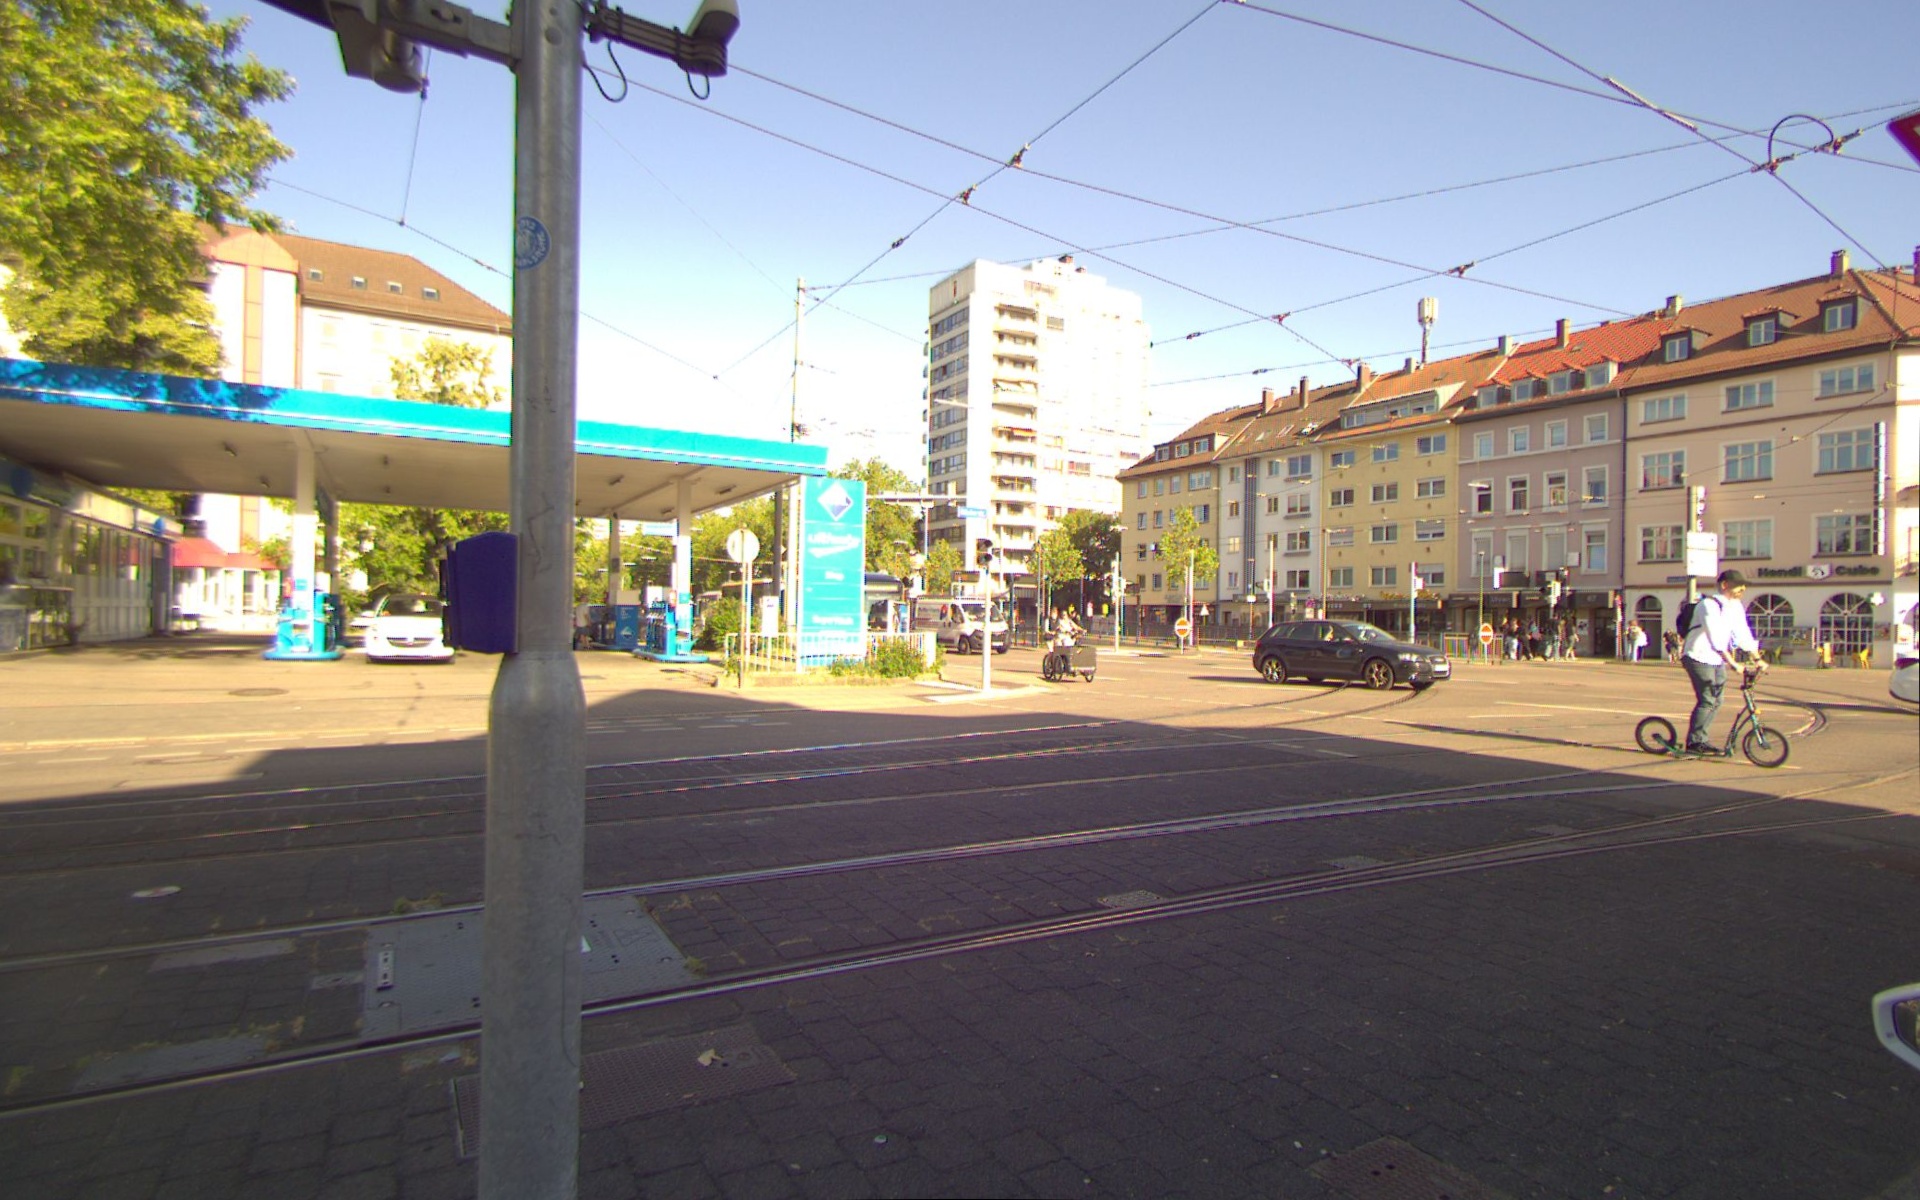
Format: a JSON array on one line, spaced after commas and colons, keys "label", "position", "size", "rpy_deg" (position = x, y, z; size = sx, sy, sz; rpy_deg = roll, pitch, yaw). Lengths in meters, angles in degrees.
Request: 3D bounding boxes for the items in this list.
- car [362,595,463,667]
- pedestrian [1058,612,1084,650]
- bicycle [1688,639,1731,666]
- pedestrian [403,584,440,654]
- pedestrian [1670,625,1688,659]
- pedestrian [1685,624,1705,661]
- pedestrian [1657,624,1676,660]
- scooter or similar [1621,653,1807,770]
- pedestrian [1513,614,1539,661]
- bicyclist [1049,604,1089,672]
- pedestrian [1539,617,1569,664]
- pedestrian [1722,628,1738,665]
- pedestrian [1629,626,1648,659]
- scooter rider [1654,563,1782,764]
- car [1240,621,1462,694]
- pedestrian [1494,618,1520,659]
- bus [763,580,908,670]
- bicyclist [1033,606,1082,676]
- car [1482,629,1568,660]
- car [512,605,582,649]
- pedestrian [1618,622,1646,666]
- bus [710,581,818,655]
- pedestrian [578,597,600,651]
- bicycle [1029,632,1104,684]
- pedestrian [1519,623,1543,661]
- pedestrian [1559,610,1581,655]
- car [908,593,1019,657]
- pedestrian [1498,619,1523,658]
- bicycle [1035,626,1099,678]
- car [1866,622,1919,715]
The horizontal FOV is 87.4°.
[{"label": "car", "position": [-12.355, 0.671, 22.558], "size": [1.793, 1.461, 3.966], "rpy_deg": [1, -1, -31]}, {"label": "pedestrian", "position": [4.817, 1.350, 43.652], "size": [0.788, 1.632, 0.766], "rpy_deg": [1, -1, -36]}, {"label": "bicycle", "position": [37.645, 2.633, 50.473], "size": [1.693, 1.293, 0.385], "rpy_deg": [0, -1, 44]}, {"label": "pedestrian", "position": [-13.338, 0.474, 24.899], "size": [0.751, 1.715, 0.583], "rpy_deg": [1, -1, -28]}, {"label": "pedestrian", "position": [36.263, 2.108, 50.677], "size": [0.731, 1.704, 0.626], "rpy_deg": [0, -1, 35]}, {"label": "pedestrian", "position": [34.361, 1.977, 46.995], "size": [0.731, 1.704, 0.626], "rpy_deg": [0, -1, 35]}, {"label": "pedestrian", "position": [33.905, 2.026, 48.178], "size": [0.731, 1.704, 0.626], "rpy_deg": [0, -1, 35]}, {"label": "scooter or similar", "position": [7.677, 1.097, 10.285], "size": [0.558, 1.057, 1.424], "rpy_deg": [1, -1, -30]}, {"label": "pedestrian", "position": [22.699, 1.488, 40.292], "size": [0.769, 1.874, 0.625], "rpy_deg": [1, -1, -30]}, {"label": "bicyclist", "position": [2.847, 0.996, 26.284], "size": [0.725, 1.737, 0.794], "rpy_deg": [1, -3, -31]}, {"label": "pedestrian", "position": [23.489, 1.595, 39.702], "size": [0.714, 1.853, 0.763], "rpy_deg": [1, -1, -30]}, {"label": "pedestrian", "position": [26.941, 1.630, 35.151], "size": [0.447, 1.270, 0.361], "rpy_deg": [1, -1, -41]}, {"label": "pedestrian", "position": [35.753, 2.227, 52.928], "size": [0.623, 1.704, 0.734], "rpy_deg": [1, -1, -41]}, {"label": "scooter rider", "position": [7.703, 0.620, 10.223], "size": [0.788, 1.937, 0.791], "rpy_deg": [1, 0, -30]}, {"label": "car", "position": [8.223, 1.159, 21.468], "size": [1.630, 1.399, 4.241], "rpy_deg": [1, -2, -36]}, {"label": "pedestrian", "position": [22.383, 1.554, 41.110], "size": [0.565, 1.657, 0.737], "rpy_deg": [1, -1, -30]}, {"label": "bus", "position": [-5.664, 0.910, 43.634], "size": [2.748, 3.504, 9.364], "rpy_deg": [0, 1, -31]}, {"label": "bicyclist", "position": [2.331, 0.977, 24.218], "size": [0.918, 1.659, 1.026], "rpy_deg": [1, 0, -10]}, {"label": "car", "position": [30.746, 2.402, 54.778], "size": [1.795, 1.511, 3.715], "rpy_deg": [2, 0, -27]}, {"label": "car", "position": [-13.575, 0.858, 32.879], "size": [1.697, 1.360, 3.970], "rpy_deg": [1, -1, -28]}, {"label": "pedestrian", "position": [26.614, 1.733, 39.773], "size": [0.621, 1.704, 0.737], "rpy_deg": [1, -1, -30]}, {"label": "bus", "position": [-10.202, 0.792, 51.364], "size": [2.755, 3.504, 8.571], "rpy_deg": [0, 1, -30]}, {"label": "pedestrian", "position": [-11.888, 0.772, 32.191], "size": [0.579, 1.715, 0.756], "rpy_deg": [1, -1, -25]}, {"label": "bicycle", "position": [2.477, 1.340, 23.717], "size": [1.041, 1.116, 2.514], "rpy_deg": [1, -1, -12]}, {"label": "pedestrian", "position": [23.896, 1.751, 42.052], "size": [0.554, 1.602, 0.694], "rpy_deg": [1, -1, -35]}, {"label": "pedestrian", "position": [24.718, 1.297, 40.719], "size": [0.553, 1.810, 0.557], "rpy_deg": [1, -1, -30]}, {"label": "car", "position": [0.058, 0.975, 41.260], "size": [2.059, 2.465, 5.079], "rpy_deg": [0, 0, -34]}, {"label": "pedestrian", "position": [24.184, 1.682, 44.152], "size": [0.621, 1.704, 0.763], "rpy_deg": [1, -1, -30]}, {"label": "bicycle", "position": [2.793, 1.358, 26.423], "size": [0.616, 1.316, 1.931], "rpy_deg": [1, -2, -31]}, {"label": "car", "position": [17.104, 1.091, 15.342], "size": [1.726, 1.492, 4.635], "rpy_deg": [1, -1, -38]}]
